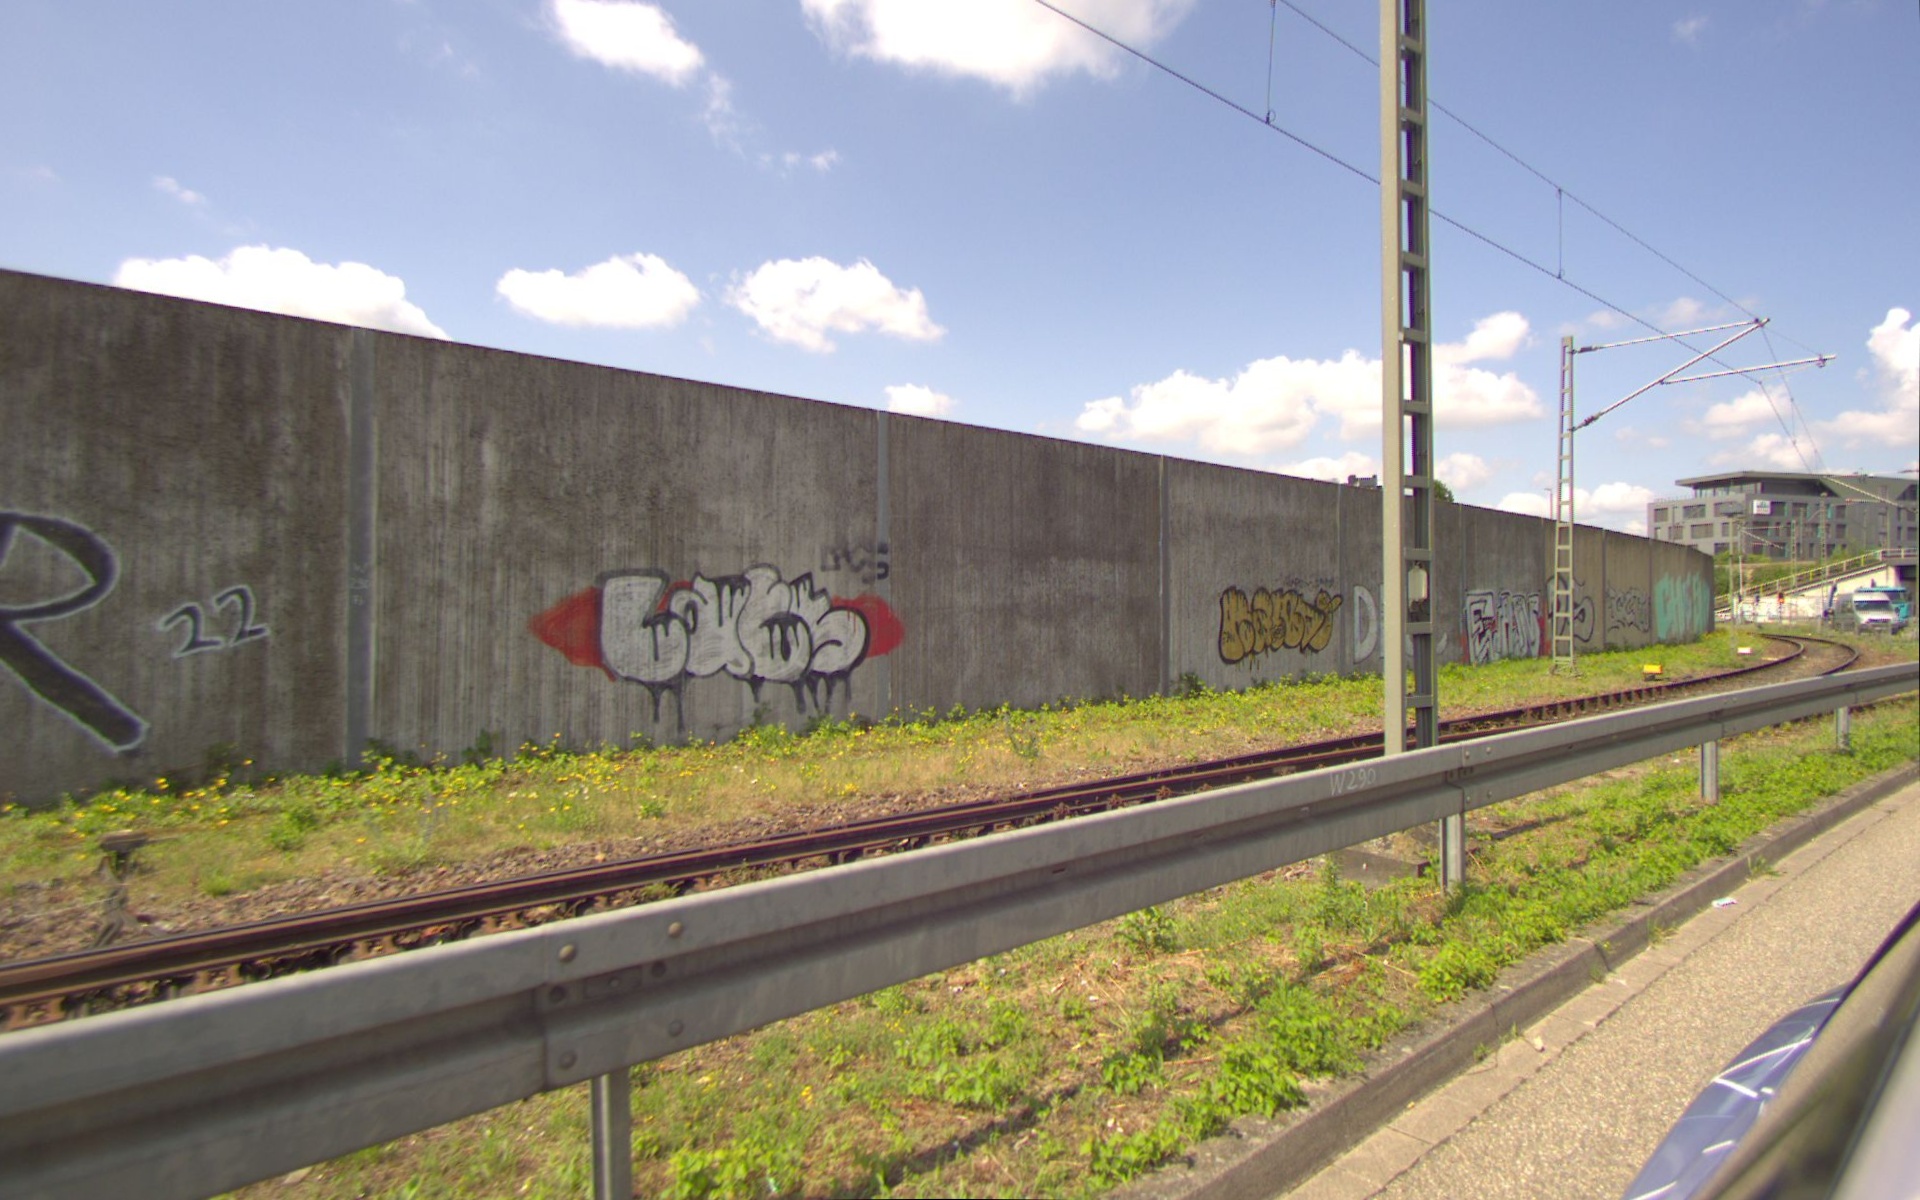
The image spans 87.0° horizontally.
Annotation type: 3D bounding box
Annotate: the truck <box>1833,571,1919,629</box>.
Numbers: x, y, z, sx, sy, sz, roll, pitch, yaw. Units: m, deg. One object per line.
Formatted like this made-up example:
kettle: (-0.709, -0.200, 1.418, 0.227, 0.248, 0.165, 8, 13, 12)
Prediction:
truck: (62.833, -0.010, 69.190, 2.625, 3.692, 6.836, -2, 0, 23)

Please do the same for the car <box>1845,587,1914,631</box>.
car: (55.291, 0.516, 60.970, 2.051, 2.559, 5.814, -2, -1, 32)
